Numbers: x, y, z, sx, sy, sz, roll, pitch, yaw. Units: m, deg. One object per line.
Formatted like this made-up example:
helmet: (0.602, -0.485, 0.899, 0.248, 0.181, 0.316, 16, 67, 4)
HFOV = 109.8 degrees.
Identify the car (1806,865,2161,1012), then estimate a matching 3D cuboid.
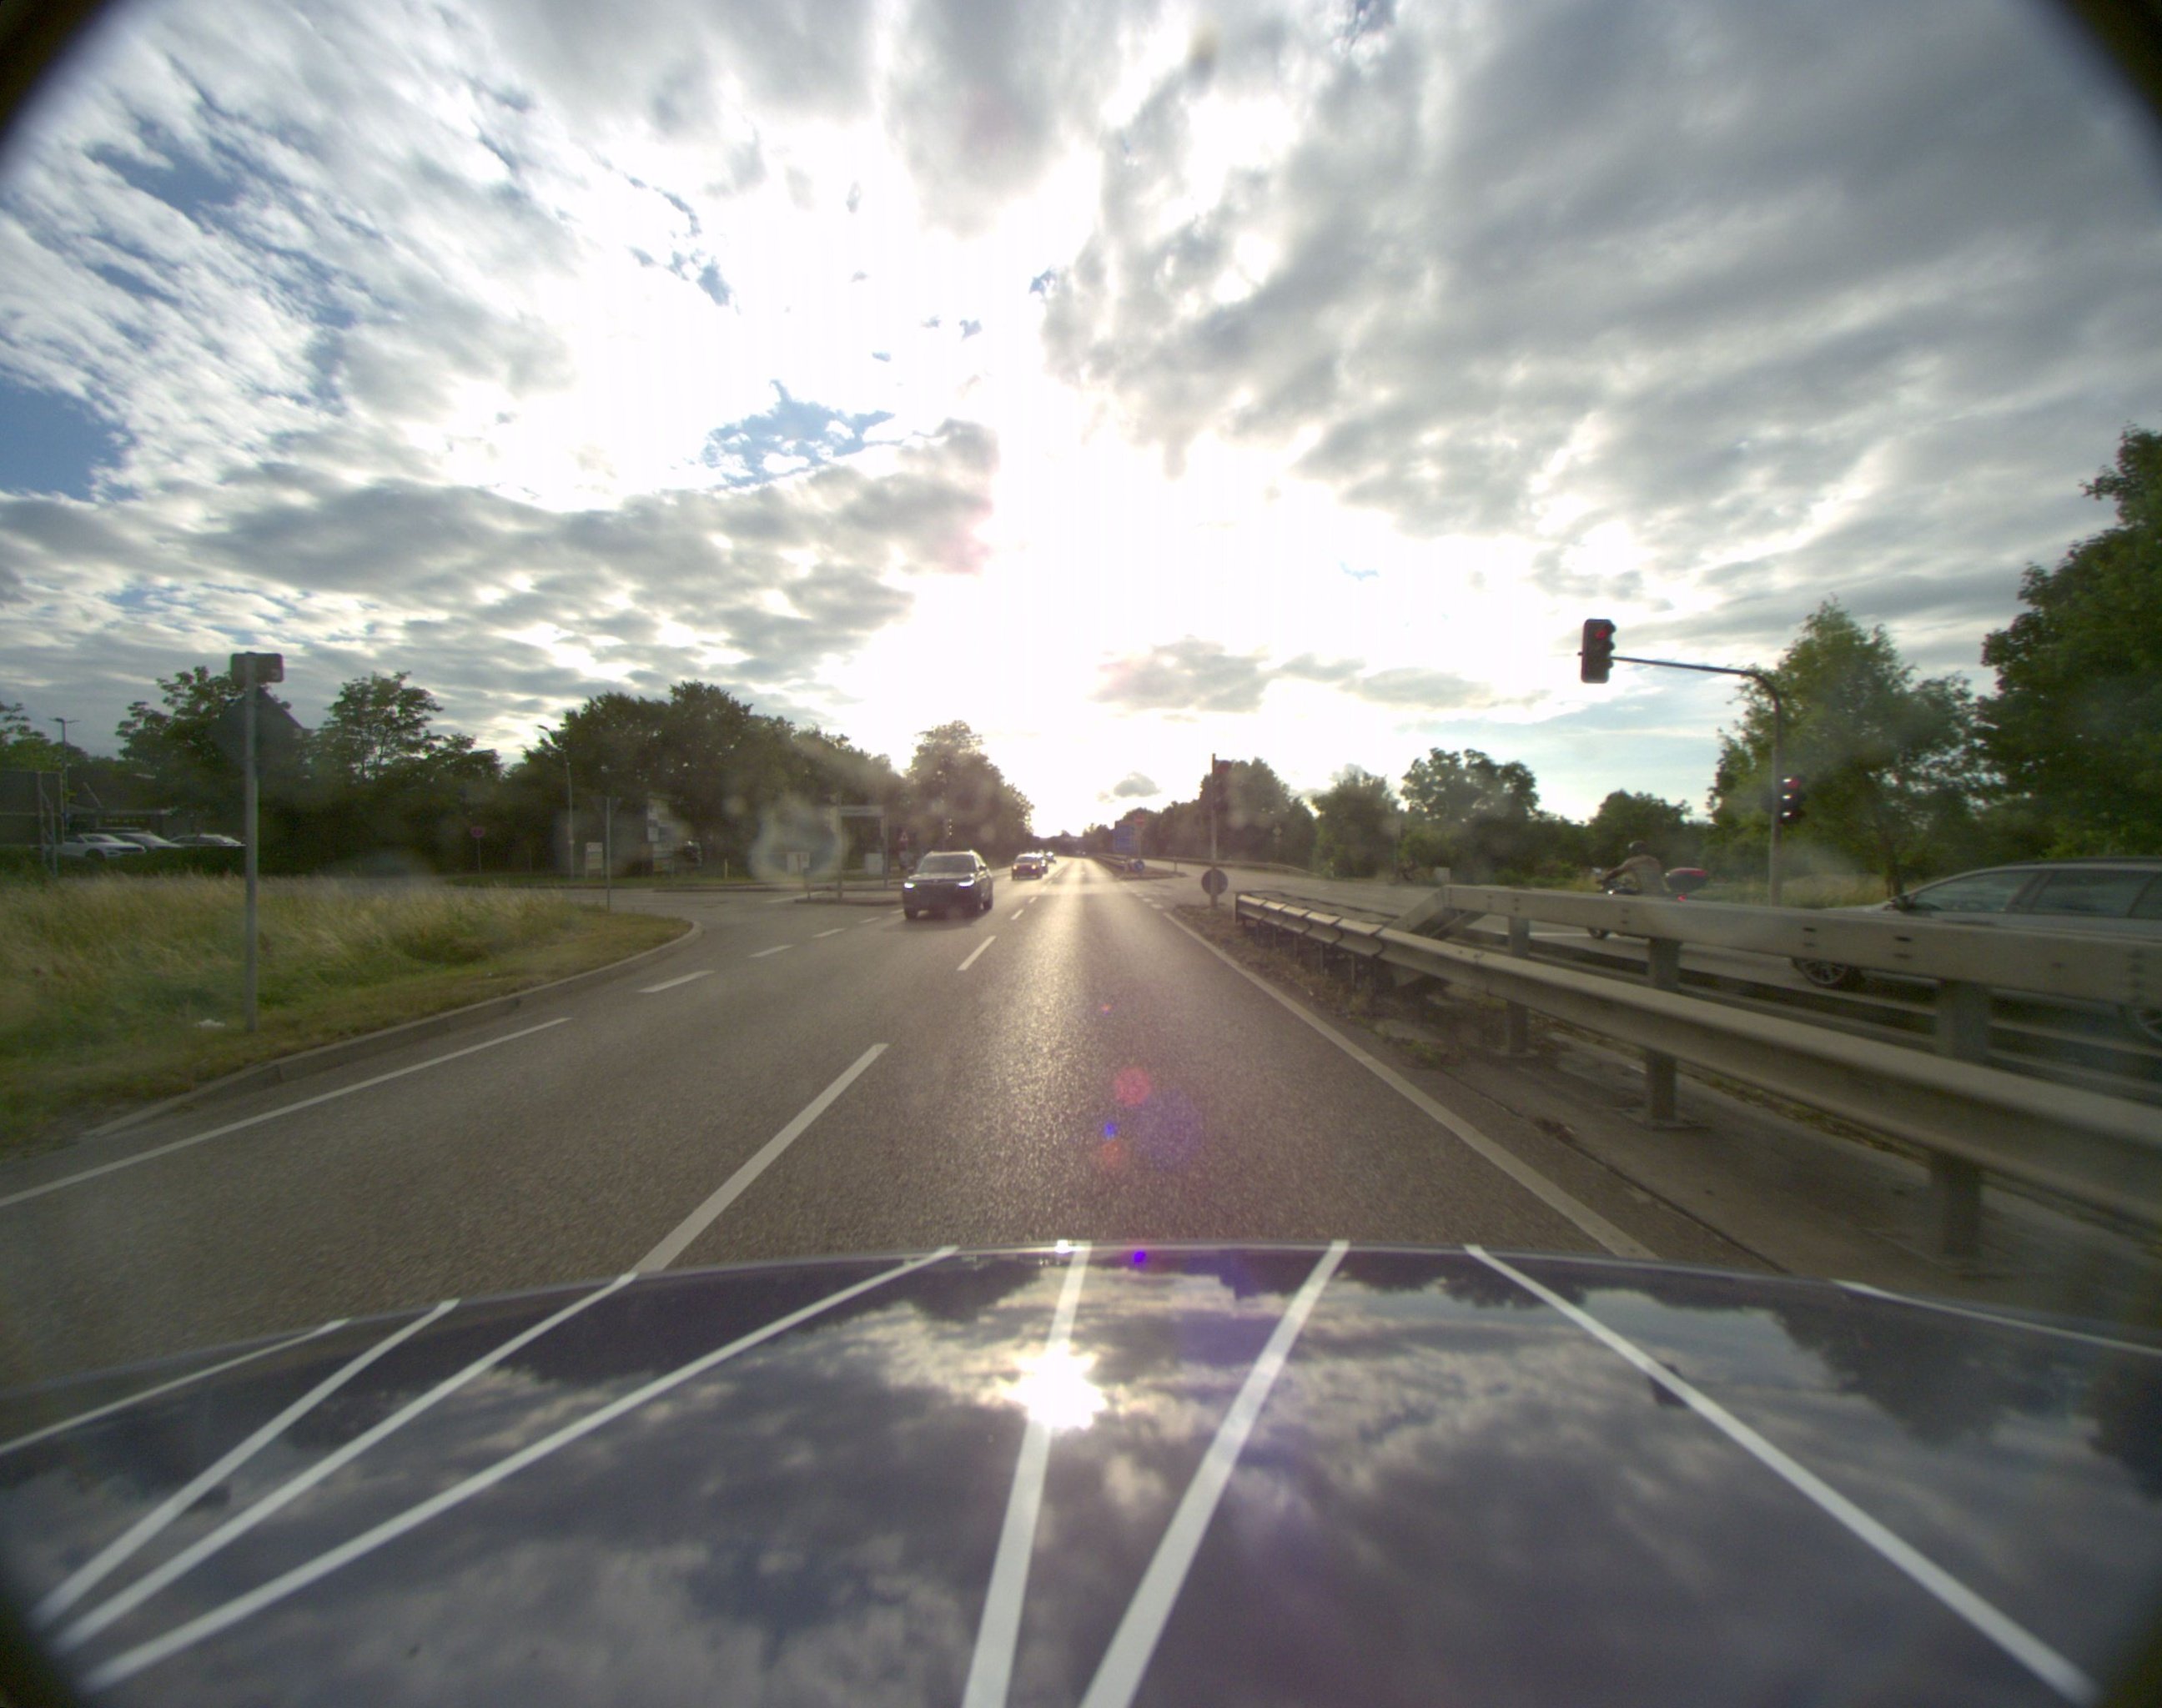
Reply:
car: (12.787, 0.964, 9.917, 1.912, 1.526, 4.938, 0, 0, 0)

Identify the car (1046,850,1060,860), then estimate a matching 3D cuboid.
car: (-4.090, 0.155, 111.108, 1.998, 1.486, 4.000, 0, 0, 0)

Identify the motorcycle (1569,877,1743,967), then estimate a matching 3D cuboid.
motorcycle: (9.142, 1.025, 12.273, 0.918, 1.196, 2.478, 1, 1, 0)

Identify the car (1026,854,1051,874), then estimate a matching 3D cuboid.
car: (-3.276, 0.754, 58.905, 1.700, 1.407, 3.999, -2, 0, -1)

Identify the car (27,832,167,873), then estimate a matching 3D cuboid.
car: (-49.518, -0.071, 38.314, 4.303, 1.873, 1.960, 2, 1, -3)

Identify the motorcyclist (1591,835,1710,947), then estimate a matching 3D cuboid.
motorcyclist: (9.140, 0.565, 12.266, 0.918, 1.699, 1.276, 1, 1, 0)

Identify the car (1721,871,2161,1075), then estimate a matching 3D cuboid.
car: (9.009, 0.943, 6.975, 1.912, 1.420, 5.151, 0, 0, 0)

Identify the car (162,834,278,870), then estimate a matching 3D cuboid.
car: (-49.562, -0.139, 43.798, 4.303, 1.873, 1.960, 2, 1, -3)

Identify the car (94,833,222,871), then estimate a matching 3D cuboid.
car: (-49.477, -0.085, 40.806, 4.303, 1.841, 1.960, 2, 1, -3)

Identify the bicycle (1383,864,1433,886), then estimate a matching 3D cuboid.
bicycle: (17.469, 1.123, 40.659, 2.324, 1.131, 0.816, 0, 1, 5)

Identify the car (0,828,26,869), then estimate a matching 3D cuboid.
car: (-51.837, -0.302, 34.730, 4.303, 1.873, 1.960, 2, 1, -3)

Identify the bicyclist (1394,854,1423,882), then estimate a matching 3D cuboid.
bicyclist: (17.504, 0.748, 40.658, 1.225, 1.443, 0.816, 1, 1, 6)

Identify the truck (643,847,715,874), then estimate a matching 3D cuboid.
truck: (-31.305, 0.467, 59.211, 4.679, 1.985, 1.819, -2, 1, -36)

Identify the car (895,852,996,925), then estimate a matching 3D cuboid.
car: (-3.431, 0.815, 20.087, 1.849, 1.640, 4.480, -2, 0, -1)

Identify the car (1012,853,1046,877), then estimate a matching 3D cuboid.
car: (-3.200, 0.647, 47.102, 1.666, 1.424, 3.995, -1, 0, 2)
